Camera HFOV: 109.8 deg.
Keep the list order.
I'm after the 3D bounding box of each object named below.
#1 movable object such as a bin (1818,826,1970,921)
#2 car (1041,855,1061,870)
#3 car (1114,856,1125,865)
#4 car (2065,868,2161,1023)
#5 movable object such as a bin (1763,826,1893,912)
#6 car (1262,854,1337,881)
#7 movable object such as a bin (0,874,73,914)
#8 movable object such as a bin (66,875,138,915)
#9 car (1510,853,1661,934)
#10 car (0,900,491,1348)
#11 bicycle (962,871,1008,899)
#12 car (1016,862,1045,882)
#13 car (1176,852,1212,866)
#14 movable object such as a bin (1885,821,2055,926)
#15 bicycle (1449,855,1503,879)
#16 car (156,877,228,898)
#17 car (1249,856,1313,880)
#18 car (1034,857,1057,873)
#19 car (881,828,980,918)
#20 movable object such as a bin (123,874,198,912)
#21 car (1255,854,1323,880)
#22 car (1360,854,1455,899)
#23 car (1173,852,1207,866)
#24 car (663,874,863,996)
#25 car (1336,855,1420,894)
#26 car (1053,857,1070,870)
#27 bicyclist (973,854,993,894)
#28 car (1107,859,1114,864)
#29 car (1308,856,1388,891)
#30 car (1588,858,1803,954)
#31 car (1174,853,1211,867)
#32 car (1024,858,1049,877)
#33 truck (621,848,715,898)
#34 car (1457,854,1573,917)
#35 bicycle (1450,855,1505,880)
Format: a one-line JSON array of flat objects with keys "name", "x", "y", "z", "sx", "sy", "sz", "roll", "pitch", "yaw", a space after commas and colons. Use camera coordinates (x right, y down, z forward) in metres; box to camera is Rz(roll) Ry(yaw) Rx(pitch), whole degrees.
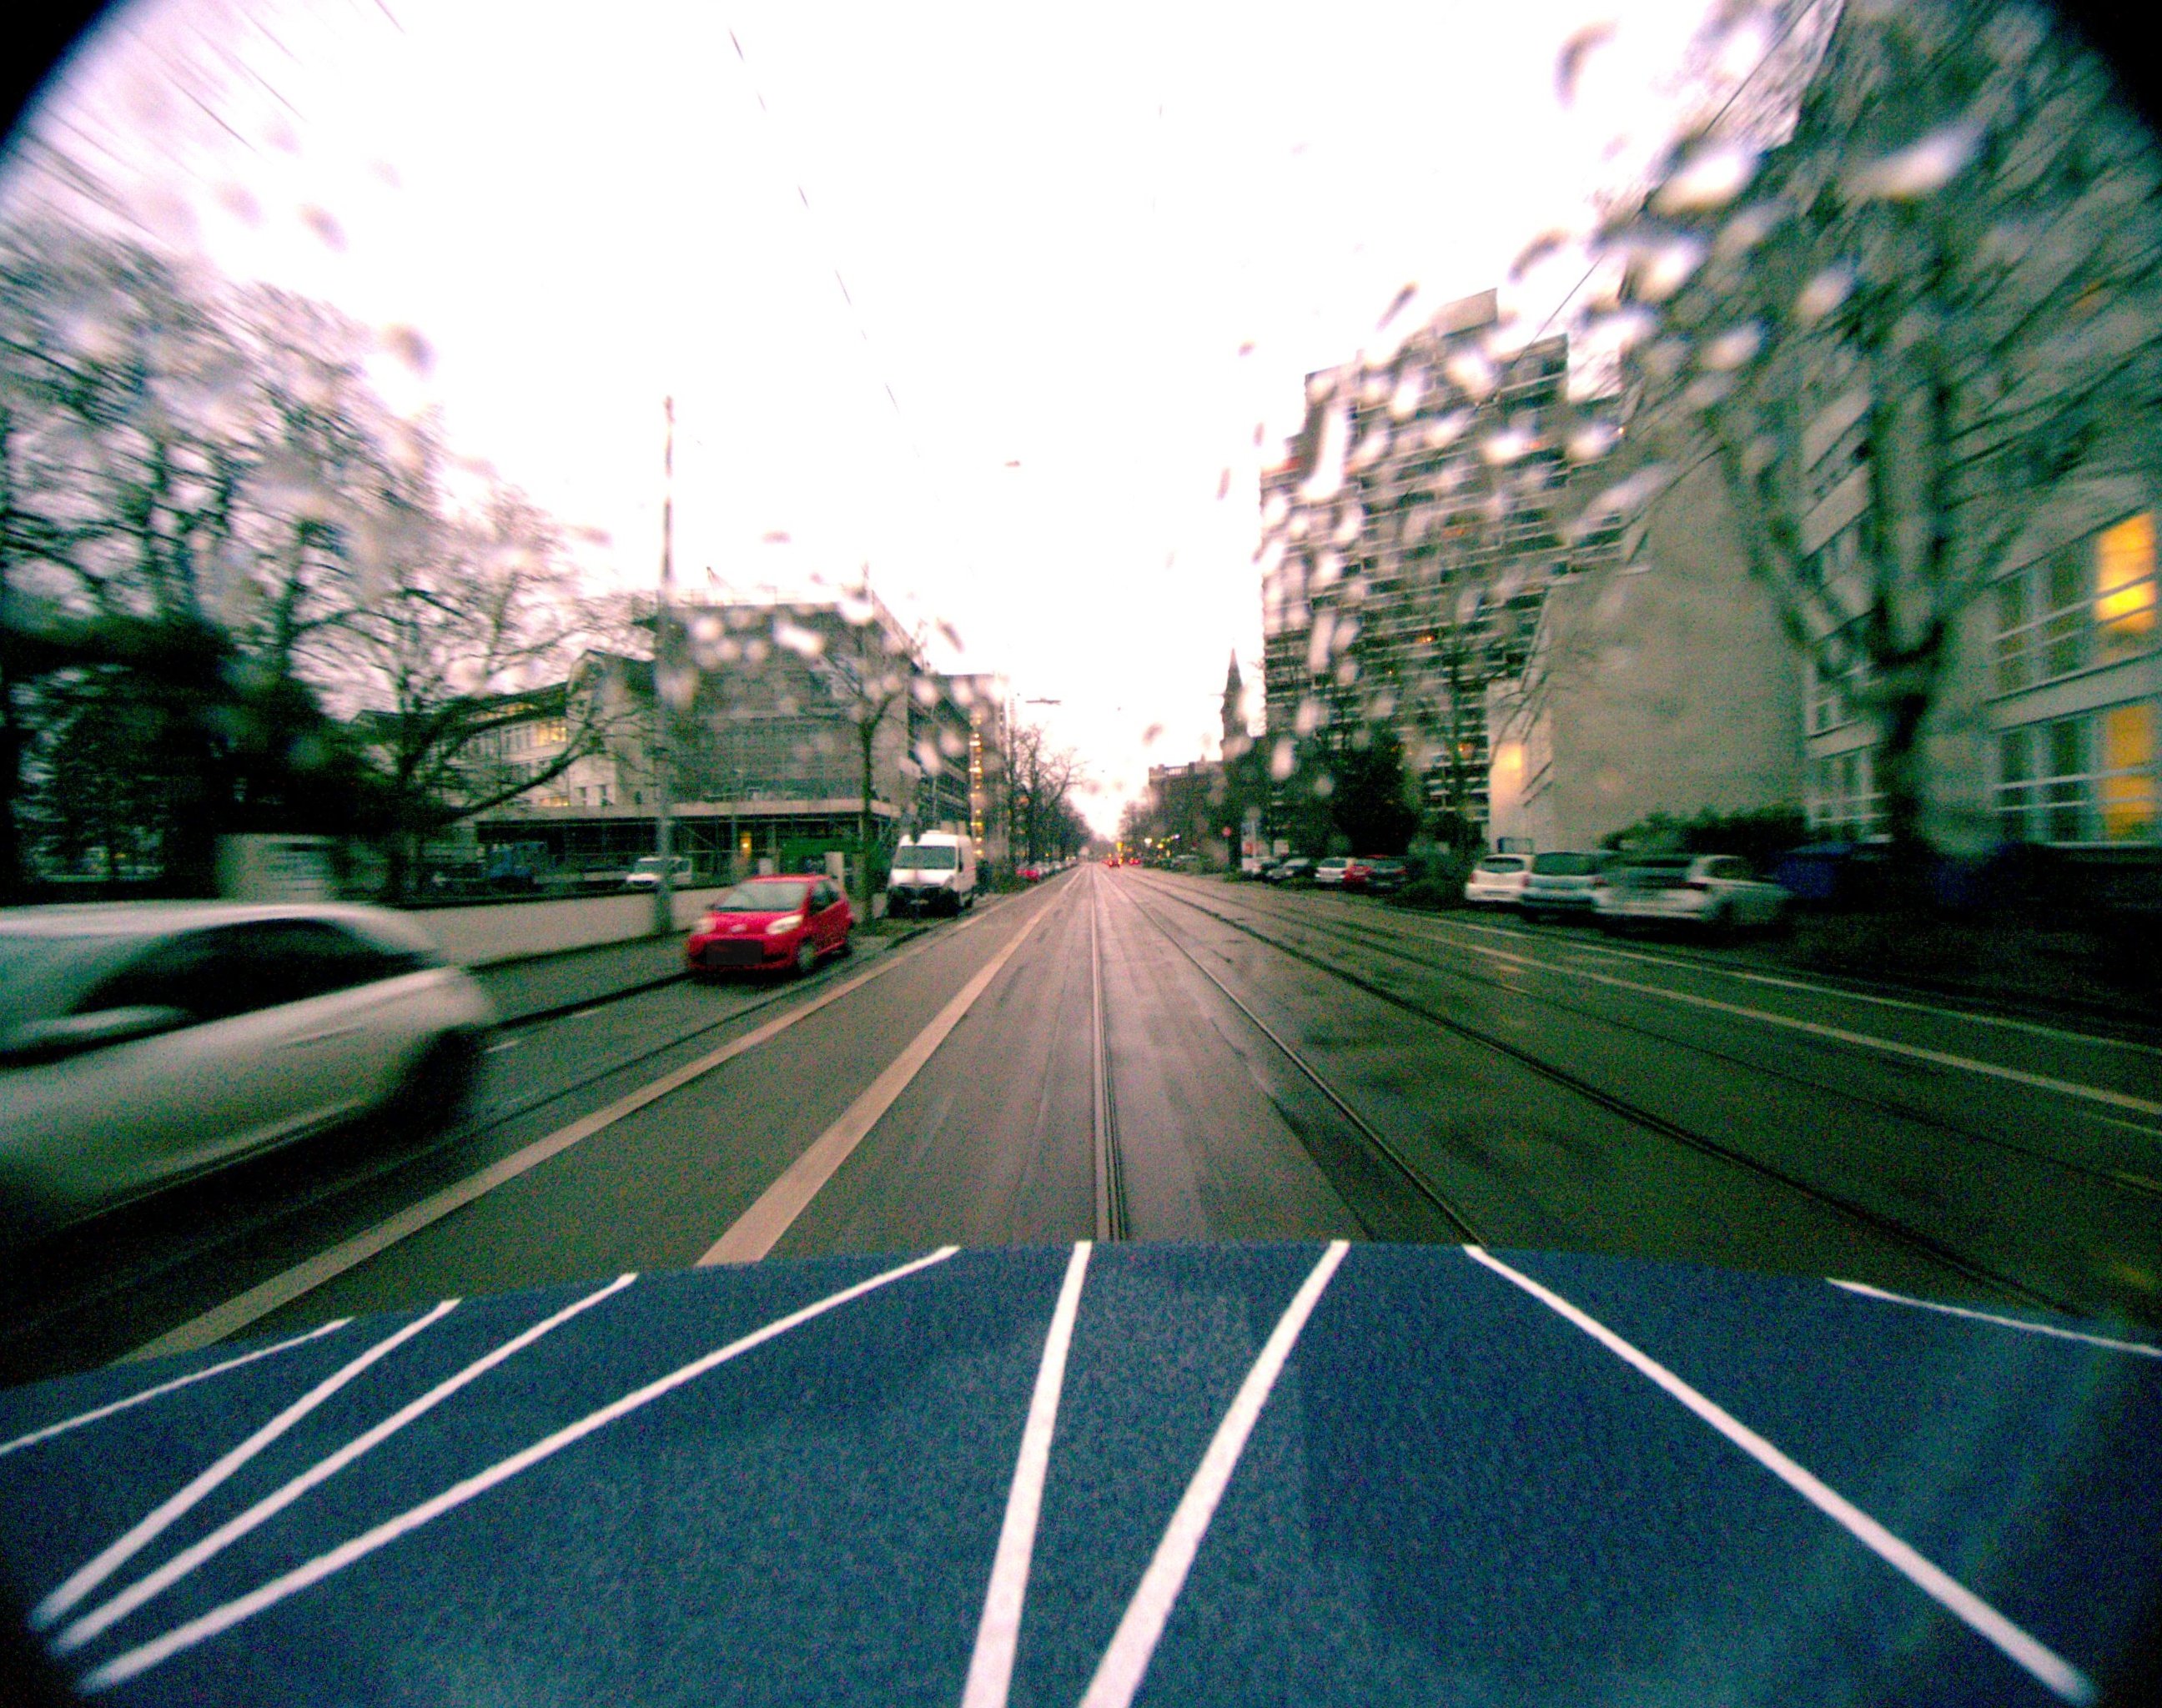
[{"name": "movable object such as a bin", "x": 16.630, "y": 0.407, "z": 15.617, "sx": 1.573, "sy": 1.848, "sz": 1.394, "roll": -1, "pitch": -1, "yaw": 2}, {"name": "car", "x": -3.384, "y": 0.988, "z": 86.286, "sx": 1.866, "sy": 1.584, "sz": 4.001, "roll": -1, "pitch": -1, "yaw": 3}, {"name": "car", "x": 6.824, "y": 1.142, "z": 134.727, "sx": 1.752, "sy": 1.535, "sz": 4.296, "roll": -1, "pitch": -1, "yaw": 1}, {"name": "car", "x": 11.171, "y": 0.851, "z": 7.084, "sx": 1.745, "sy": 1.344, "sz": 4.357, "roll": 0, "pitch": 0, "yaw": 43}, {"name": "movable object such as a bin", "x": 16.664, "y": 0.342, "z": 17.016, "sx": 1.573, "sy": 1.848, "sz": 1.318, "roll": -1, "pitch": -1, "yaw": 2}, {"name": "car", "x": 11.471, "y": 0.680, "z": 39.738, "sx": 4.008, "sy": 1.370, "sz": 1.851, "roll": 0, "pitch": -1, "yaw": -41}, {"name": "movable object such as a bin", "x": -33.713, "y": 1.258, "z": 24.399, "sx": 0.985, "sy": 1.218, "sz": 1.441, "roll": -1, "pitch": 0, "yaw": 24}, {"name": "movable object such as a bin", "x": -33.074, "y": 1.374, "z": 25.682, "sx": 0.985, "sy": 1.306, "sz": 1.310, "roll": -1, "pitch": 0, "yaw": 24}, {"name": "car", "x": 11.070, "y": 0.776, "z": 16.574, "sx": 4.008, "sy": 1.554, "sz": 1.732, "roll": 0, "pitch": -1, "yaw": -41}, {"name": "car", "x": -4.785, "y": 1.055, "z": 3.236, "sx": 1.696, "sy": 1.511, "sz": 3.637, "roll": -1, "pitch": 0, "yaw": 0}, {"name": "bicycle", "x": -4.079, "y": 1.292, "z": 32.248, "sx": 1.894, "sy": 1.126, "sz": 0.730, "roll": -1, "pitch": 0, "yaw": -11}, {"name": "car", "x": -3.751, "y": 1.344, "z": 57.423, "sx": 1.753, "sy": 1.379, "sz": 3.737, "roll": -1, "pitch": -1, "yaw": 3}, {"name": "car", "x": 13.070, "y": 0.587, "z": 88.084, "sx": 3.995, "sy": 1.477, "sz": 1.673, "roll": -1, "pitch": 0, "yaw": 7}, {"name": "movable object such as a bin", "x": 16.576, "y": 0.373, "z": 14.233, "sx": 1.573, "sy": 1.848, "sz": 1.318, "roll": -1, "pitch": -1, "yaw": 2}, {"name": "bicycle", "x": 18.708, "y": 0.624, "z": 36.011, "sx": 2.200, "sy": 1.114, "sz": 0.643, "roll": -1, "pitch": 0, "yaw": 23}, {"name": "car", "x": -68.746, "y": 2.588, "z": 58.778, "sx": 1.700, "sy": 1.514, "sz": 3.316, "roll": -1, "pitch": -1, "yaw": 27}, {"name": "car", "x": 12.334, "y": 0.847, "z": 46.703, "sx": 4.008, "sy": 1.391, "sz": 1.851, "roll": 0, "pitch": -1, "yaw": -41}, {"name": "car", "x": -3.554, "y": 1.121, "z": 77.043, "sx": 1.866, "sy": 1.584, "sz": 4.001, "roll": -1, "pitch": -1, "yaw": 3}, {"name": "car", "x": -4.539, "y": 0.568, "z": 23.803, "sx": 2.129, "sy": 2.472, "sz": 5.438, "roll": -1, "pitch": -1, "yaw": -2}, {"name": "movable object such as a bin", "x": -32.605, "y": 1.378, "z": 26.936, "sx": 1.061, "sy": 1.308, "sz": 1.326, "roll": -1, "pitch": -2, "yaw": 12}, {"name": "car", "x": 11.955, "y": 0.721, "z": 43.602, "sx": 4.008, "sy": 1.454, "sz": 1.851, "roll": 0, "pitch": -1, "yaw": -41}, {"name": "car", "x": 11.692, "y": 0.767, "z": 27.128, "sx": 3.862, "sy": 1.484, "sz": 1.691, "roll": 0, "pitch": -1, "yaw": -43}, {"name": "car", "x": 12.975, "y": 0.575, "z": 90.905, "sx": 3.995, "sy": 1.630, "sz": 2.001, "roll": -1, "pitch": 0, "yaw": 7}, {"name": "car", "x": -4.735, "y": 1.118, "z": 11.880, "sx": 1.647, "sy": 1.514, "sz": 3.572, "roll": -2, "pitch": -1, "yaw": -2}, {"name": "car", "x": 11.989, "y": 0.803, "z": 30.631, "sx": 3.458, "sy": 1.484, "sz": 1.725, "roll": 0, "pitch": -1, "yaw": -41}, {"name": "car", "x": -2.433, "y": 1.232, "z": 97.170, "sx": 1.866, "sy": 1.584, "sz": 4.001, "roll": -1, "pitch": -1, "yaw": 3}, {"name": "bicyclist", "x": -4.161, "y": 0.855, "z": 32.235, "sx": 0.771, "sy": 1.679, "sz": 0.706, "roll": -1, "pitch": 0, "yaw": -11}, {"name": "car", "x": 8.131, "y": 2.041, "z": 209.666, "sx": 1.765, "sy": 1.402, "sz": 4.001, "roll": -1, "pitch": -1, "yaw": 1}, {"name": "car", "x": 11.818, "y": 0.833, "z": 33.515, "sx": 4.008, "sy": 1.437, "sz": 1.788, "roll": 0, "pitch": -1, "yaw": -45}, {"name": "car", "x": 10.895, "y": 0.804, "z": 13.409, "sx": 4.007, "sy": 1.435, "sz": 1.732, "roll": 0, "pitch": 1, "yaw": -32}, {"name": "car", "x": 12.327, "y": 0.618, "z": 84.192, "sx": 3.995, "sy": 1.477, "sz": 1.673, "roll": -1, "pitch": 0, "yaw": 7}, {"name": "car", "x": -3.875, "y": 1.192, "z": 66.306, "sx": 1.753, "sy": 1.574, "sz": 3.737, "roll": -1, "pitch": -1, "yaw": 3}, {"name": "truck", "x": -23.345, "y": 0.971, "z": 43.400, "sx": 2.132, "sy": 2.573, "sz": 7.076, "roll": -1, "pitch": 1, "yaw": -6}, {"name": "car", "x": 11.848, "y": 0.781, "z": 20.647, "sx": 3.885, "sy": 1.542, "sz": 1.688, "roll": 0, "pitch": -1, "yaw": -44}, {"name": "bicycle", "x": 18.359, "y": 0.623, "z": 35.206, "sx": 2.200, "sy": 1.114, "sz": 0.643, "roll": -1, "pitch": 0, "yaw": 23}]
